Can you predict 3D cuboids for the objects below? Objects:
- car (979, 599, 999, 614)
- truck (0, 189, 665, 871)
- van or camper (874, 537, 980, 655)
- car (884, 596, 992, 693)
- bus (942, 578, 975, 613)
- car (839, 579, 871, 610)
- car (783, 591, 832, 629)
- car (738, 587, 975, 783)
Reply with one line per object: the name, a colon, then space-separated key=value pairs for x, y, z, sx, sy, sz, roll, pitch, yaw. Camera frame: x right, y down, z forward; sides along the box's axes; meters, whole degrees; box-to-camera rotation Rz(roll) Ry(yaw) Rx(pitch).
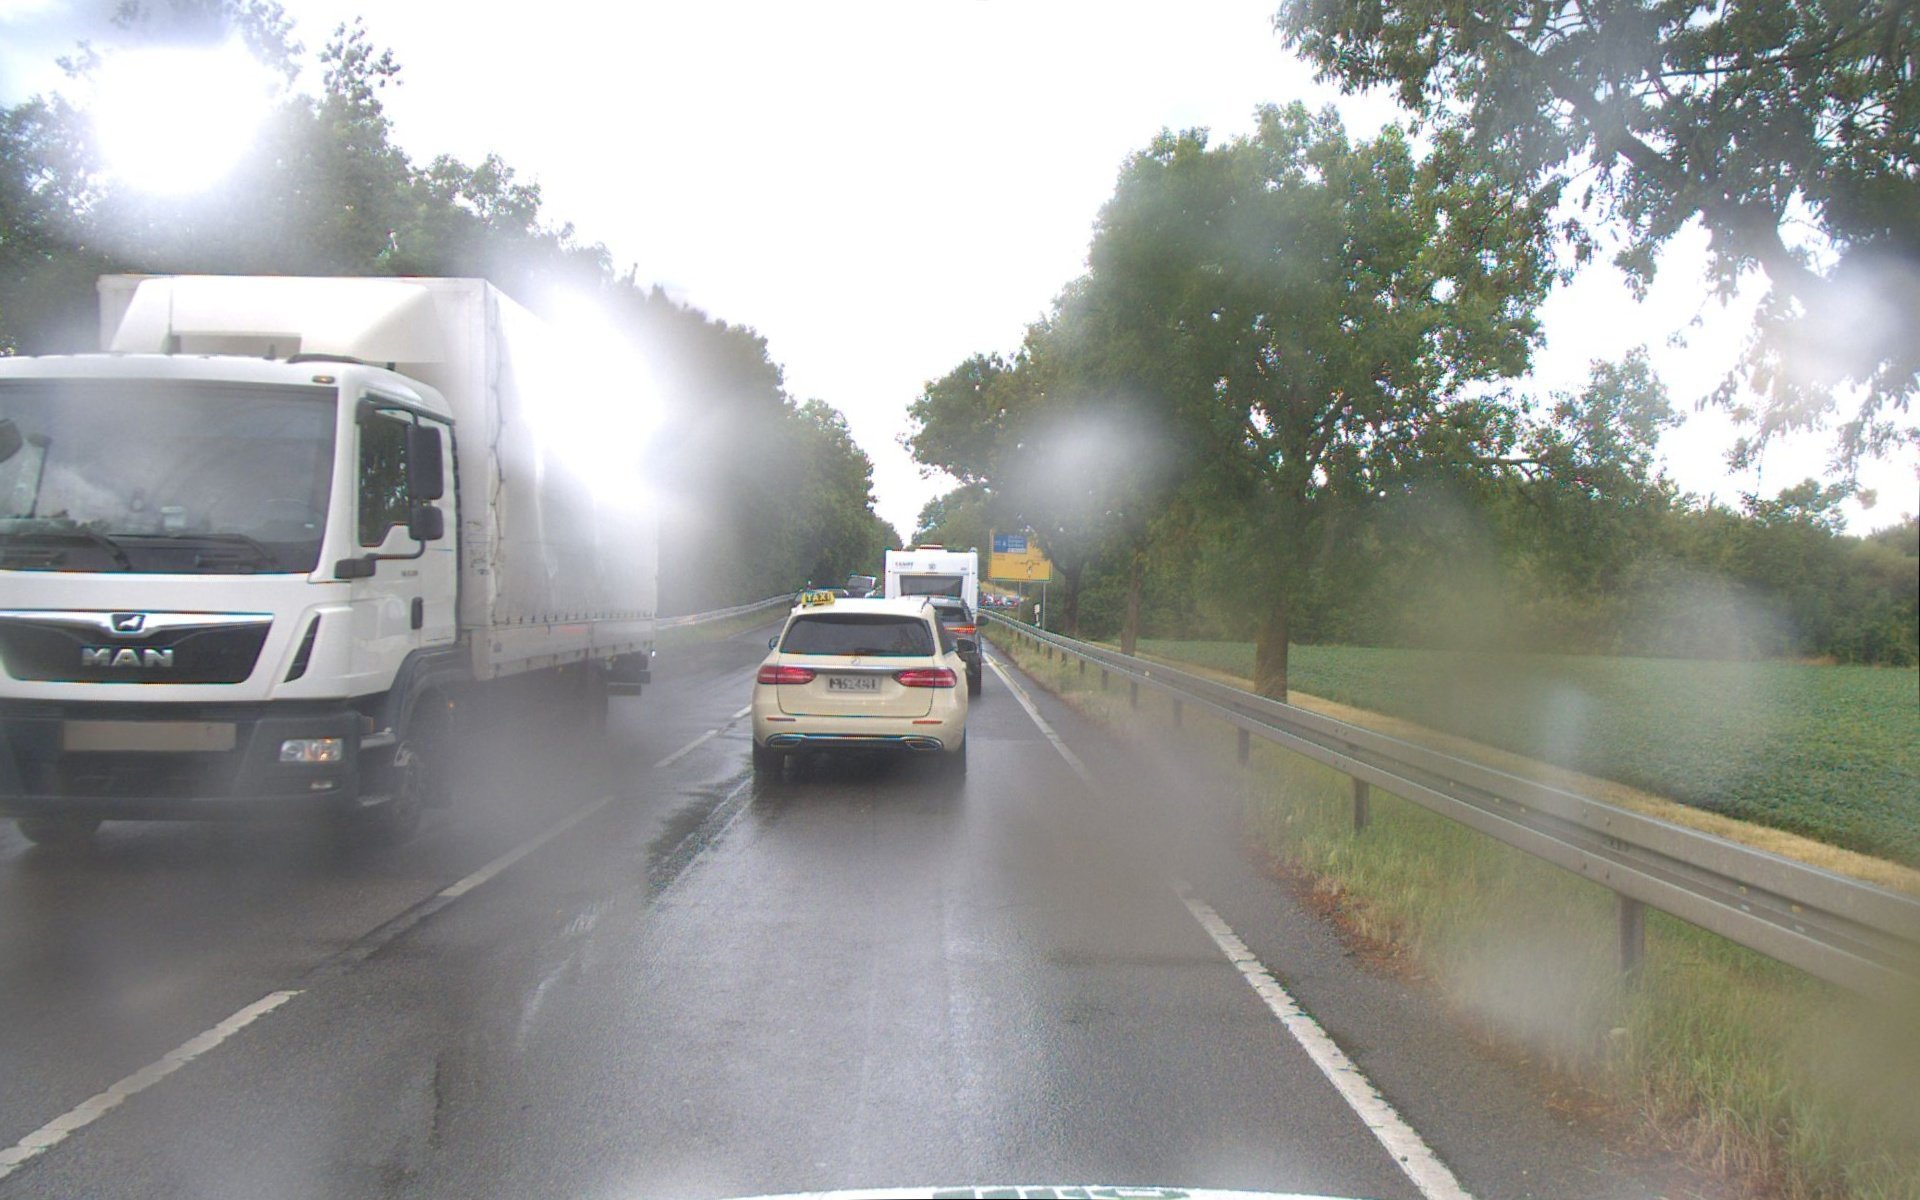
car: x=2.349 y=0.549 z=133.551 sx=1.520 sy=1.138 sz=4.000 roll=1 pitch=0 yaw=0
truck: x=-4.347 y=-0.385 z=13.322 sx=2.524 sy=3.512 sz=9.552 roll=0 pitch=0 yaw=-2
van or camper: x=-0.767 y=-0.099 z=41.992 sx=2.438 sy=2.732 sz=5.700 roll=1 pitch=0 yaw=0
car: x=-0.330 y=0.666 z=27.143 sx=1.630 sy=1.456 sz=4.000 roll=1 pitch=0 yaw=0
bus: x=-0.116 y=-0.264 z=100.171 sx=1.953 sy=2.049 sz=3.999 roll=0 pitch=0 yaw=-1
car: x=-6.521 y=-0.343 z=103.295 sx=1.791 sy=1.834 sz=4.413 roll=1 pitch=0 yaw=-1
car: x=-6.086 y=0.382 z=66.401 sx=1.679 sy=1.476 sz=4.110 roll=1 pitch=0 yaw=-1
car: x=-0.793 y=0.655 z=14.820 sx=1.826 sy=1.502 sz=4.000 roll=1 pitch=0 yaw=0
